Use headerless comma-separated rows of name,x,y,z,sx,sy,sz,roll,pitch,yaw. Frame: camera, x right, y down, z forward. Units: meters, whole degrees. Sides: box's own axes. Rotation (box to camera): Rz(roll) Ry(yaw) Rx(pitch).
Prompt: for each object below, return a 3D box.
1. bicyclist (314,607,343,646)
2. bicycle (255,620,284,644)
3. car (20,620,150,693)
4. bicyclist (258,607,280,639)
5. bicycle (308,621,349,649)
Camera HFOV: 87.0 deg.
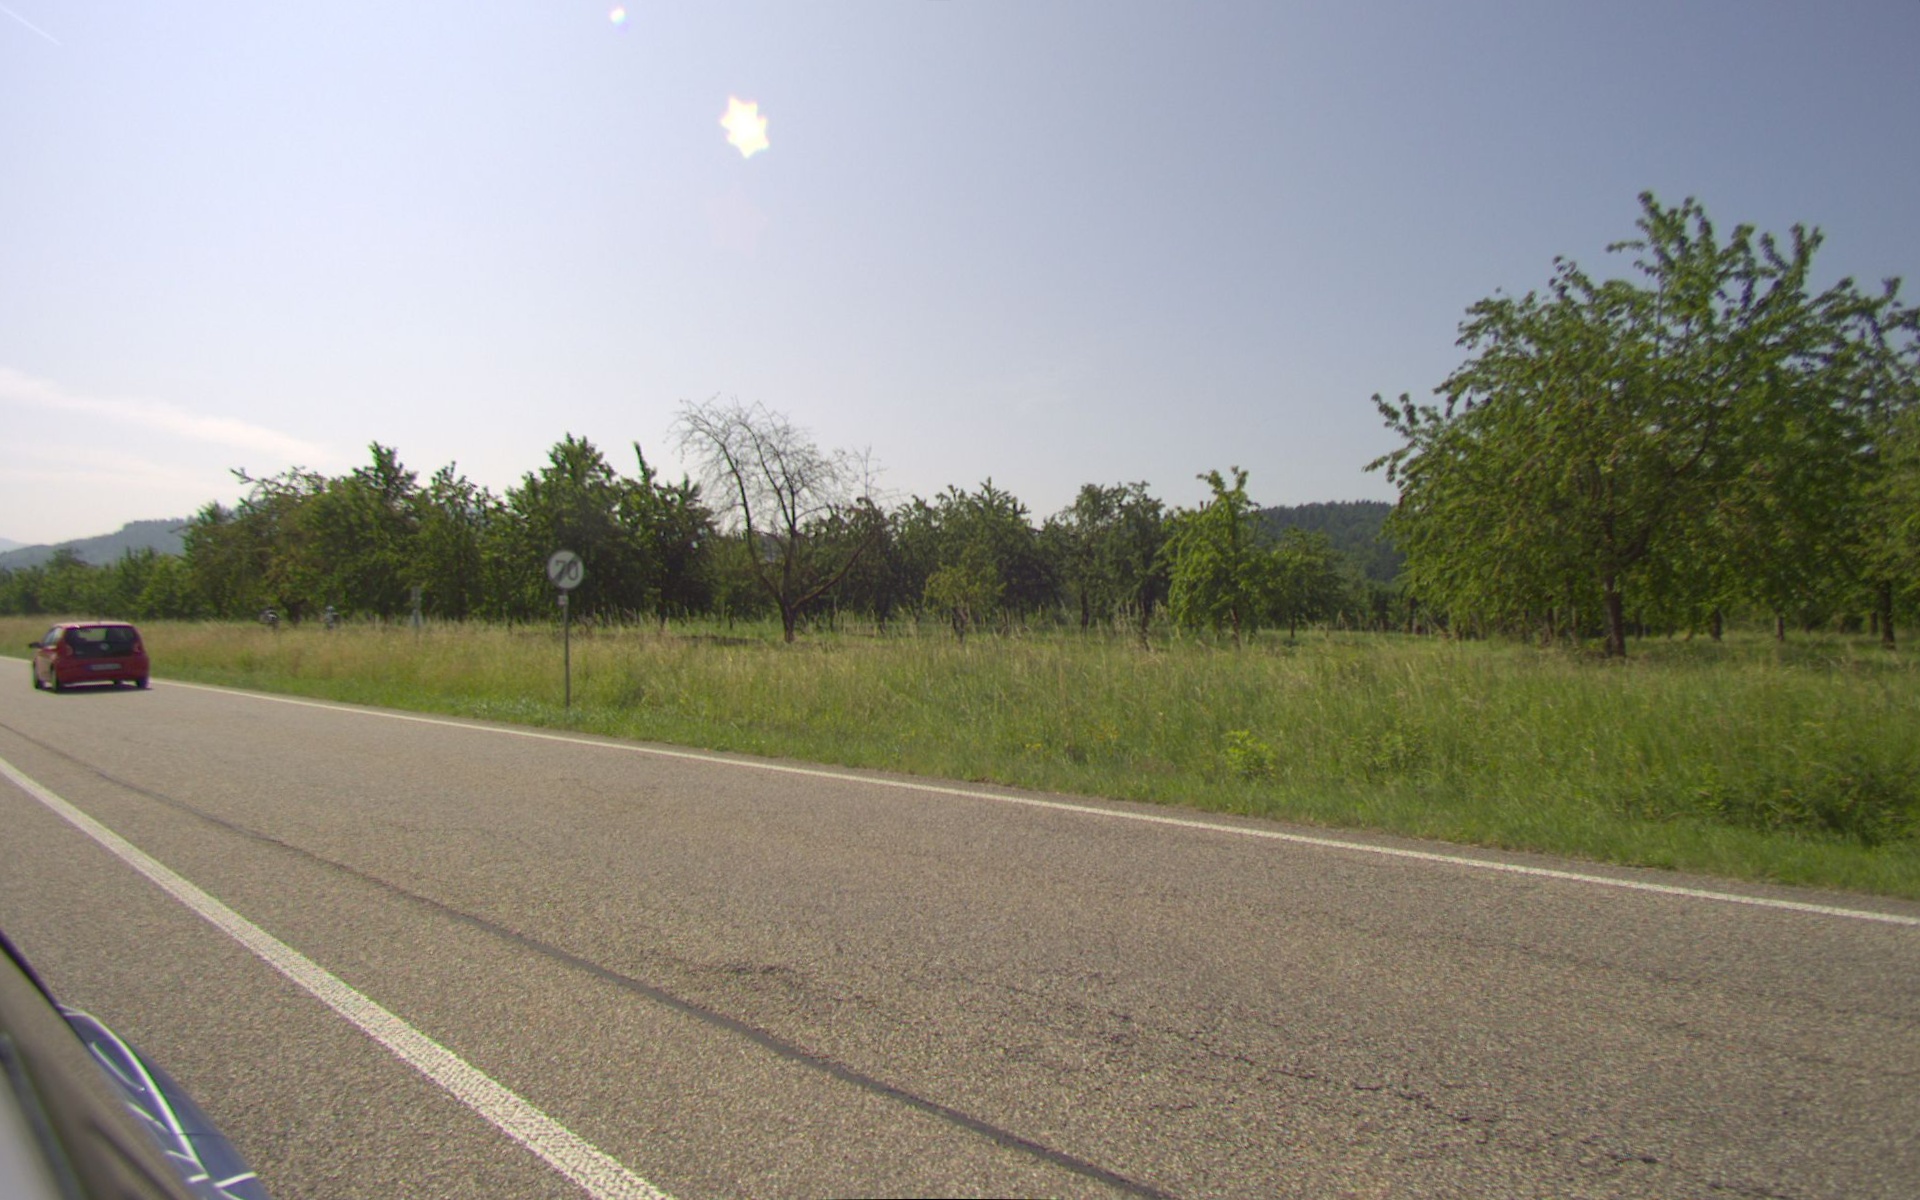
bicyclist,-24.584,1.023,39.380,0.863,1.466,0.732,0,0,41
bicycle,-31.041,1.413,45.469,1.955,0.997,0.642,0,1,42
car,-19.471,1.196,22.486,3.618,1.468,1.609,-1,0,40
bicyclist,-31.040,1.031,45.459,0.863,1.425,0.635,0,0,41
bicycle,-24.581,1.355,39.379,2.224,0.997,0.732,0,1,42
